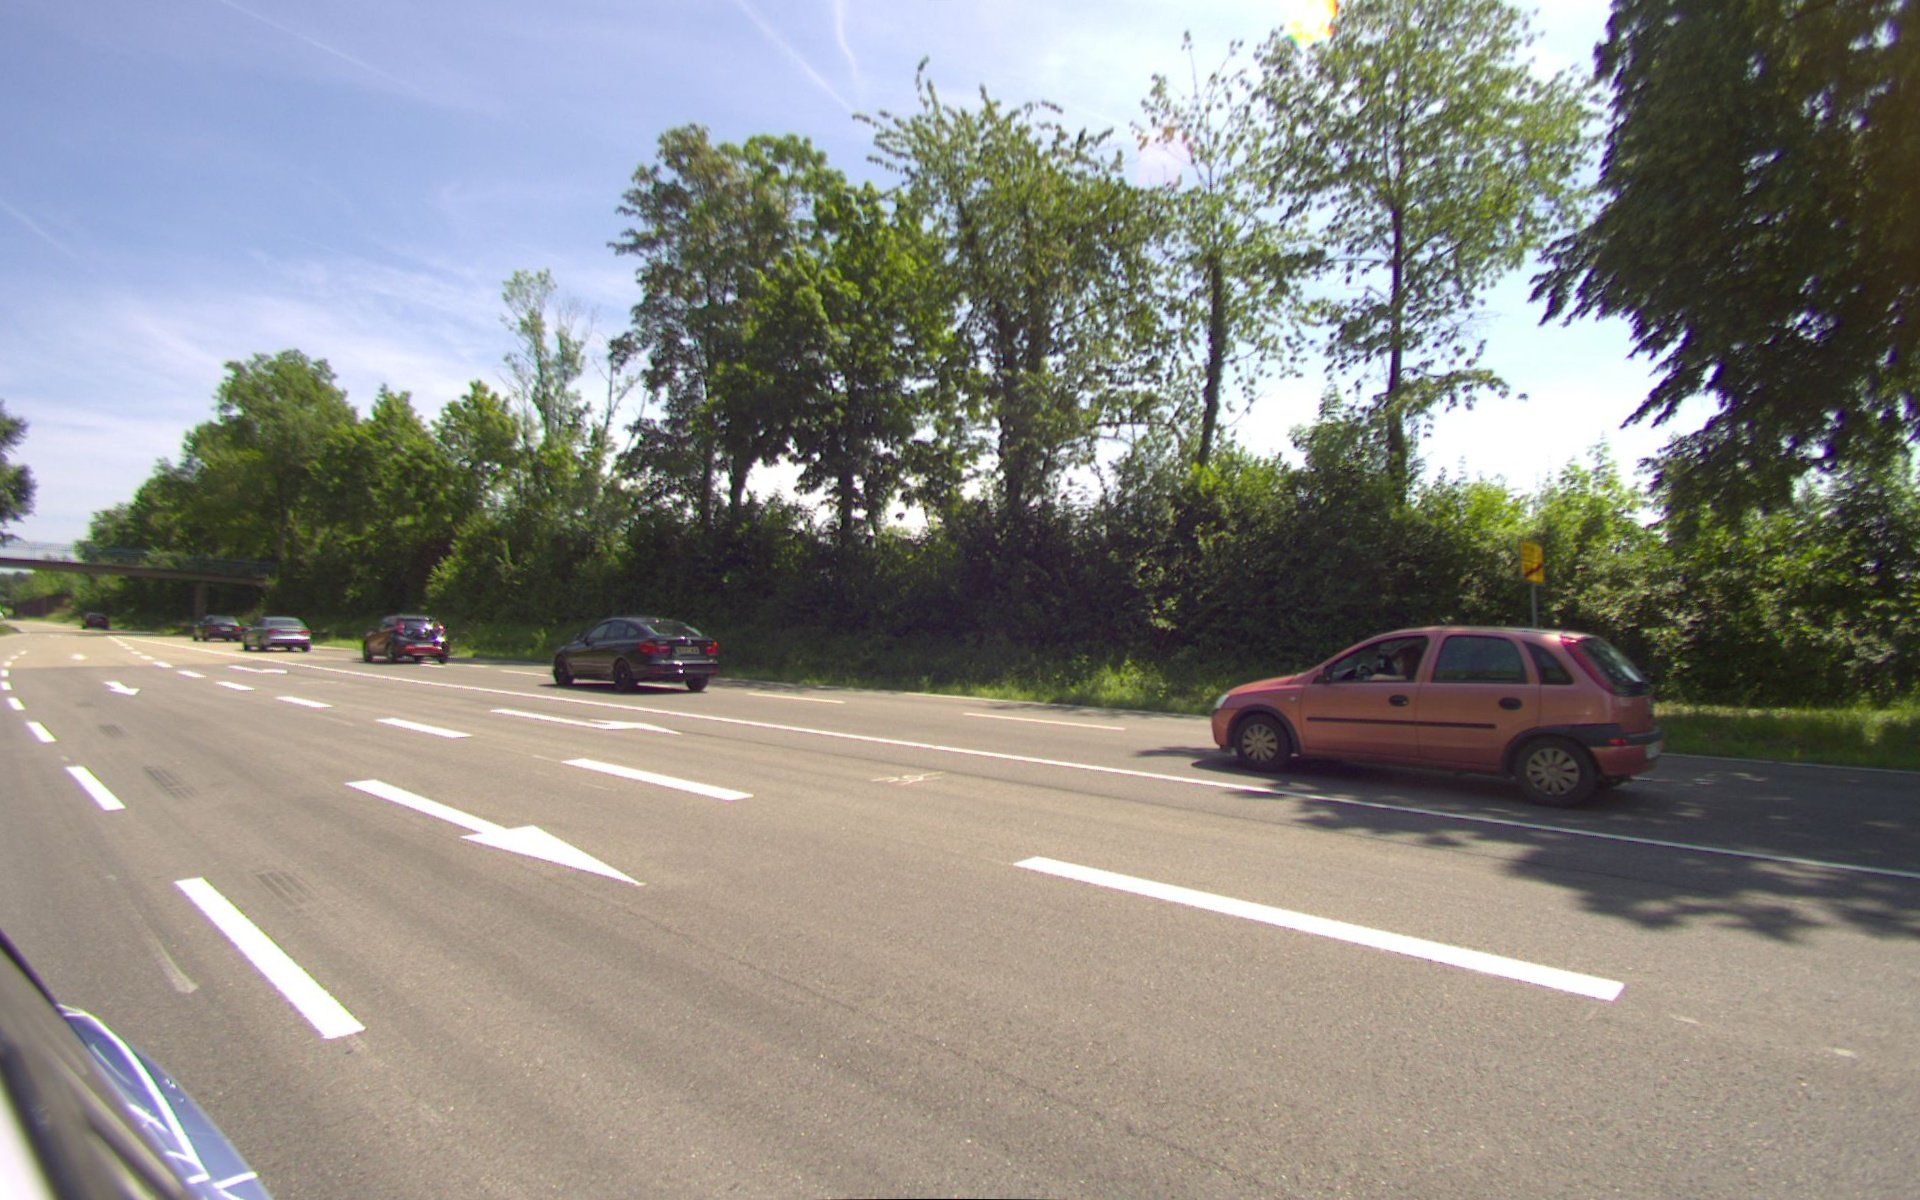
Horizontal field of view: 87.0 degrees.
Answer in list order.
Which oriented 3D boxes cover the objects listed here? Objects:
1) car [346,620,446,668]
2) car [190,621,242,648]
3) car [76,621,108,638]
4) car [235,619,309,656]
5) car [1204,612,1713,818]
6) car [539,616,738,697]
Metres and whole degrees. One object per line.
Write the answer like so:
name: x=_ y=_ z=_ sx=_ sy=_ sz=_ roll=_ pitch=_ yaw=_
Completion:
car: x=-18.219 y=1.380 z=32.626 sx=4.016 sy=1.449 sz=1.624 roll=-1 pitch=-2 yaw=42
car: x=-42.061 y=1.907 z=57.184 sx=4.001 sy=1.397 sz=1.747 roll=0 pitch=-1 yaw=44
car: x=-81.940 y=2.776 z=95.567 sx=3.765 sy=1.520 sz=1.882 roll=-1 pitch=-3 yaw=43
car: x=-28.643 y=1.510 z=42.070 sx=4.001 sy=1.397 sz=1.747 roll=0 pitch=-1 yaw=44
car: x=4.323 y=0.873 z=9.135 sx=3.776 sy=1.457 sz=1.747 roll=-1 pitch=-3 yaw=44
car: x=-6.778 y=1.154 z=21.066 sx=4.687 sy=1.492 sz=1.897 roll=-2 pitch=-4 yaw=43
